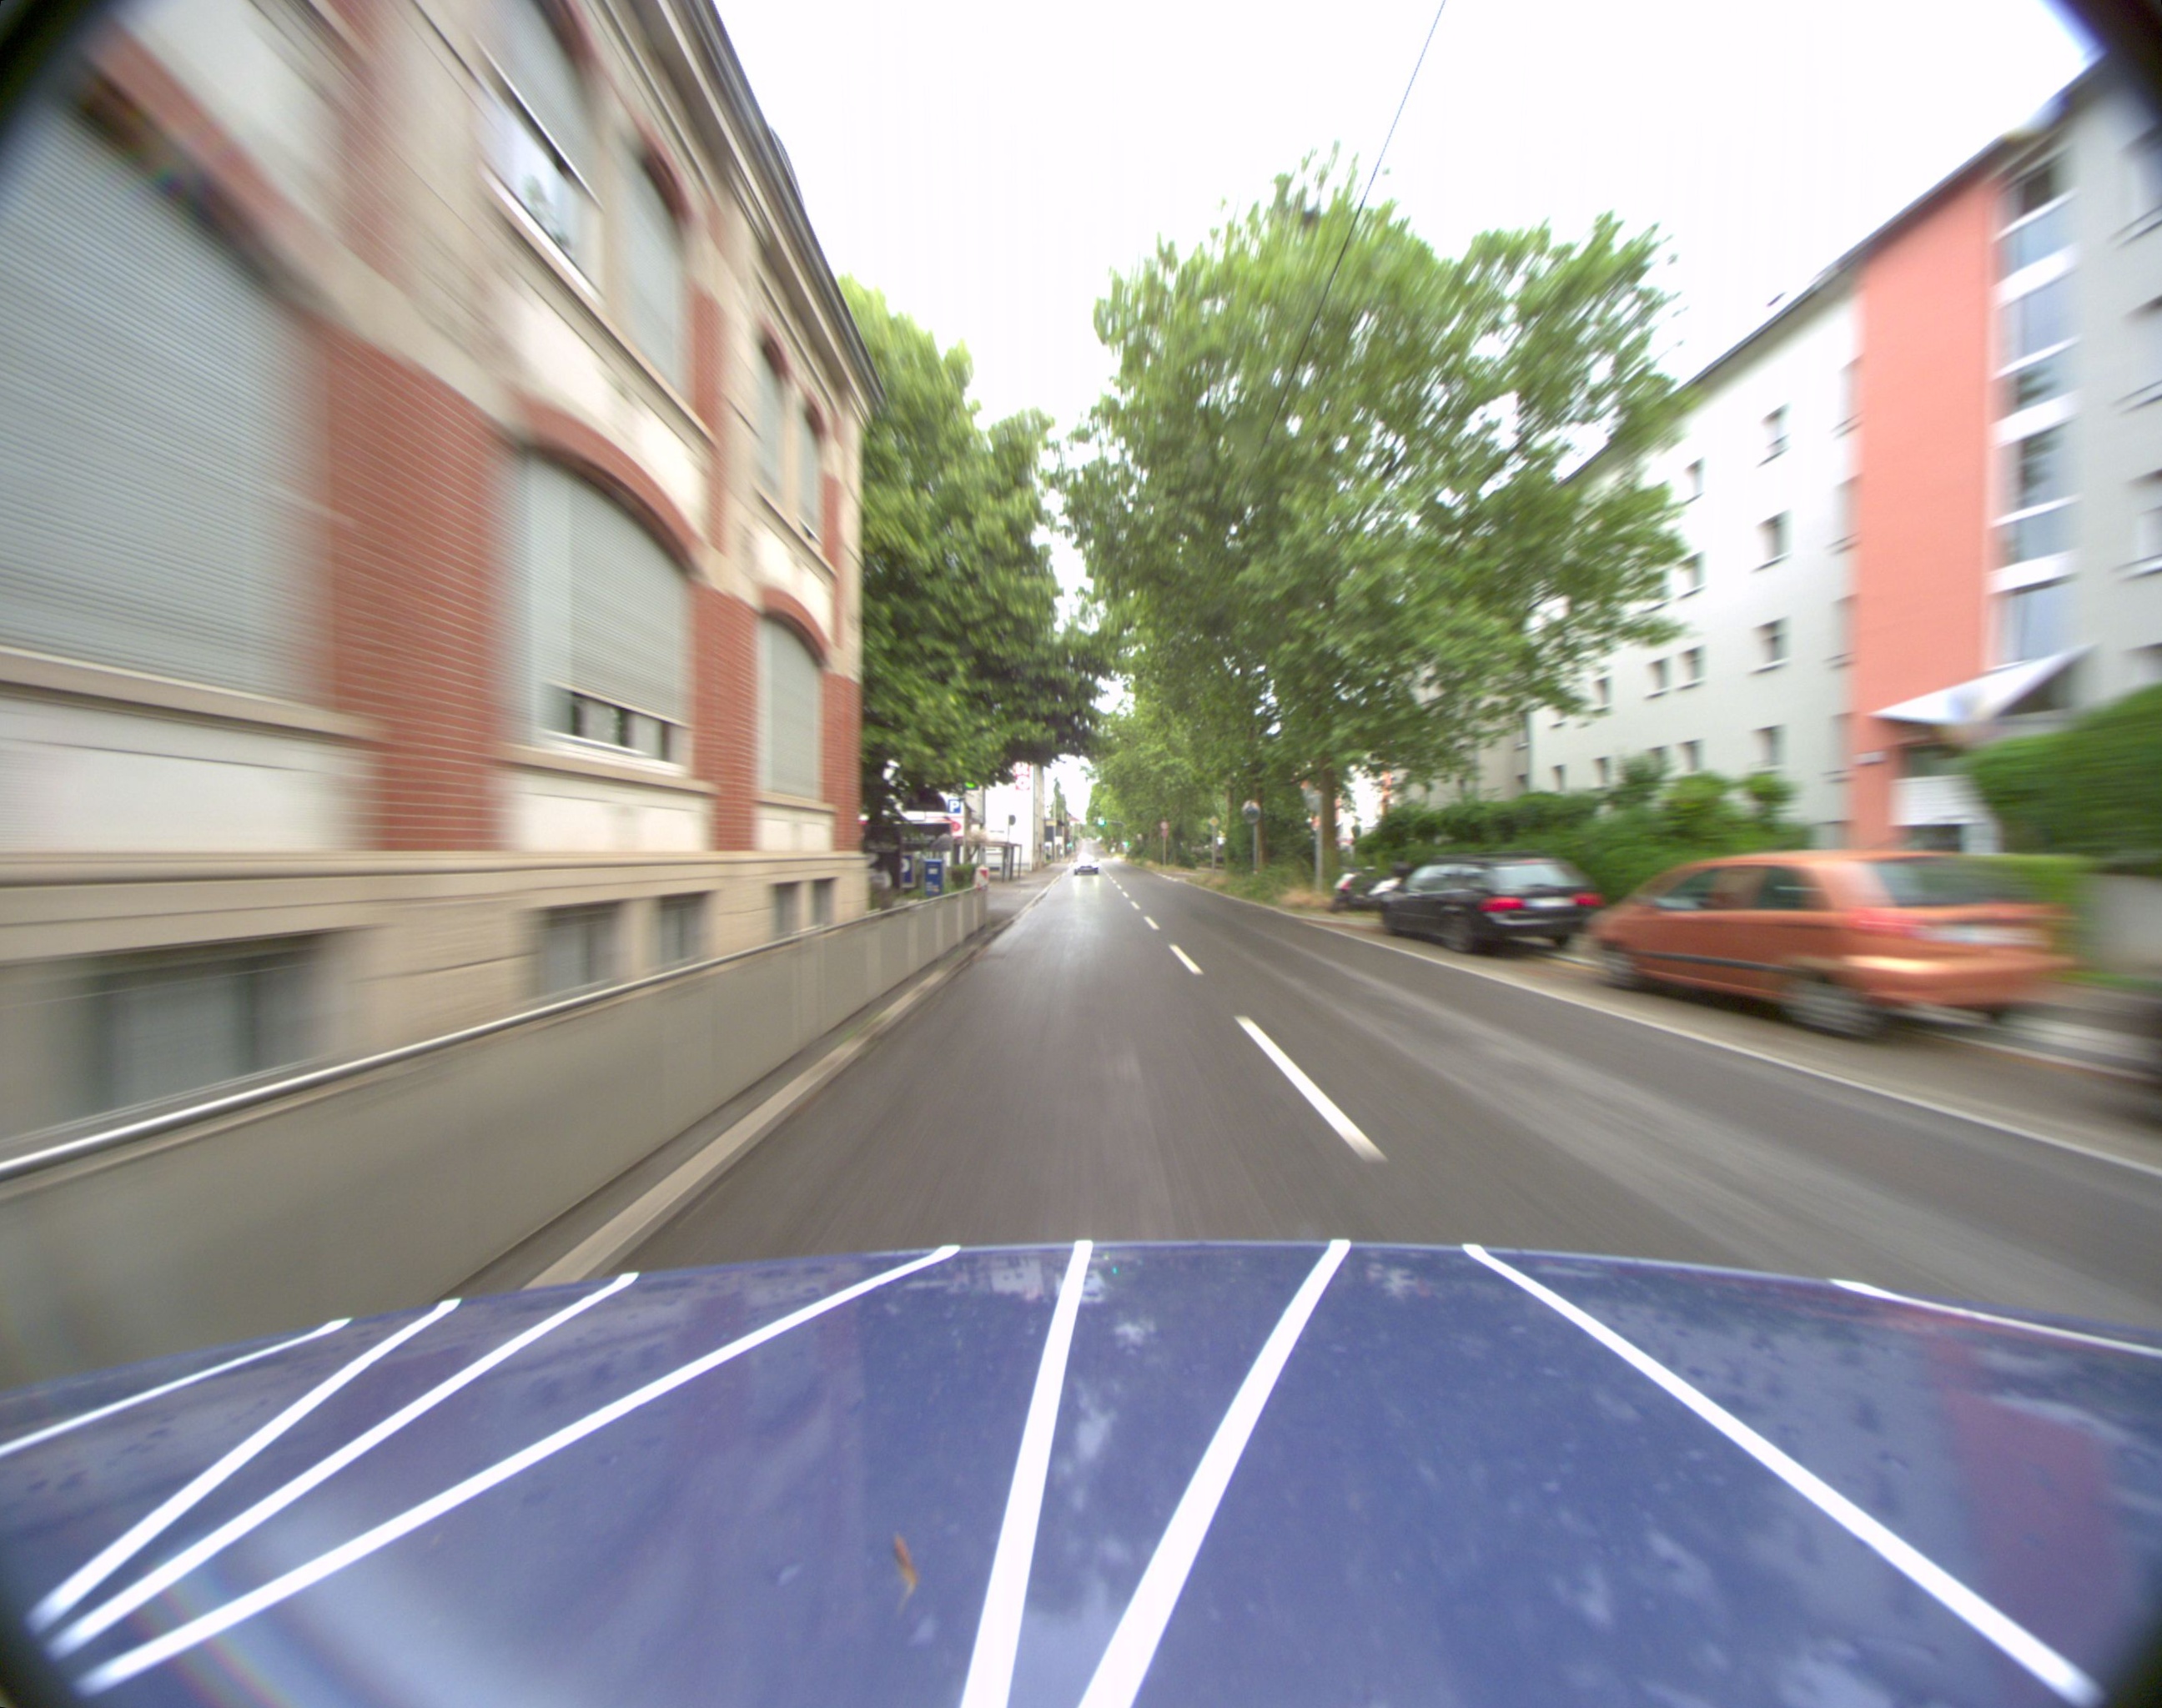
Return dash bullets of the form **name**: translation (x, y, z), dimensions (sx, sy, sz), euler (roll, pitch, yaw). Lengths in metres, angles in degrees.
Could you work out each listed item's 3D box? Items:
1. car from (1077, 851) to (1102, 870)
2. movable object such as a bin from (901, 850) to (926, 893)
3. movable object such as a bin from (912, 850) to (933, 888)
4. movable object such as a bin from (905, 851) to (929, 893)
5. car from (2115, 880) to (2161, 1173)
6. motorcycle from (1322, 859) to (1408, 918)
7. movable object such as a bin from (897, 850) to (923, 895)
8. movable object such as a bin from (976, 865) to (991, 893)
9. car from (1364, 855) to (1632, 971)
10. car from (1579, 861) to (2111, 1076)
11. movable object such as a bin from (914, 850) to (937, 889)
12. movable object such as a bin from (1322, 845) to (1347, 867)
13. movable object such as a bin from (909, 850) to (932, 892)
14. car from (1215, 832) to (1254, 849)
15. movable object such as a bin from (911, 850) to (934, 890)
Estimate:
- **car**: translation (0.618, 0.446, 57.425), dimensions (1.692, 1.334, 3.999), euler (0, 1, -2)
- **movable object such as a bin**: translation (-5.859, 0.601, 26.556), dimensions (0.739, 1.499, 0.625), euler (0, 1, -2)
- **movable object such as a bin**: translation (-6.217, 0.584, 29.846), dimensions (0.739, 1.499, 0.625), euler (0, 1, -2)
- **movable object such as a bin**: translation (-5.858, 0.628, 27.163), dimensions (0.739, 1.499, 0.625), euler (0, 1, -2)
- **car**: translation (6.273, 0.853, 2.096), dimensions (1.721, 1.459, 3.755), euler (-1, 0, -1)
- **motorcycle**: translation (6.595, 0.789, 17.697), dimensions (1.717, 1.332, 0.722), euler (0, 1, 1)
- **movable object such as a bin**: translation (-5.820, 0.627, 25.861), dimensions (0.739, 1.492, 0.625), euler (0, 1, -2)
- **movable object such as a bin**: translation (-3.959, 1.009, 30.782), dimensions (0.506, 1.109, 0.618), euler (0, 1, 1)
- **car**: translation (6.513, 0.791, 12.627), dimensions (1.721, 1.500, 4.803), euler (-1, 0, -1)
- **car**: translation (6.593, 0.836, 7.143), dimensions (1.559, 1.459, 3.396), euler (-1, 0, -1)
- **movable object such as a bin**: translation (-5.971, 0.584, 29.199), dimensions (0.739, 1.499, 0.625), euler (0, 1, -2)
- **movable object such as a bin**: translation (17.717, 0.135, 53.181), dimensions (1.164, 1.455, 1.301), euler (-6, 1, 0)
- **movable object such as a bin**: translation (-5.870, 0.612, 27.823), dimensions (0.739, 1.499, 0.625), euler (0, 1, -2)
- **car**: translation (16.499, -1.442, 81.717), dimensions (3.802, 1.679, 1.738), euler (-3, 1, -2)
- **movable object such as a bin**: translation (-5.934, 0.597, 28.484), dimensions (0.739, 1.499, 0.625), euler (0, 1, -2)
